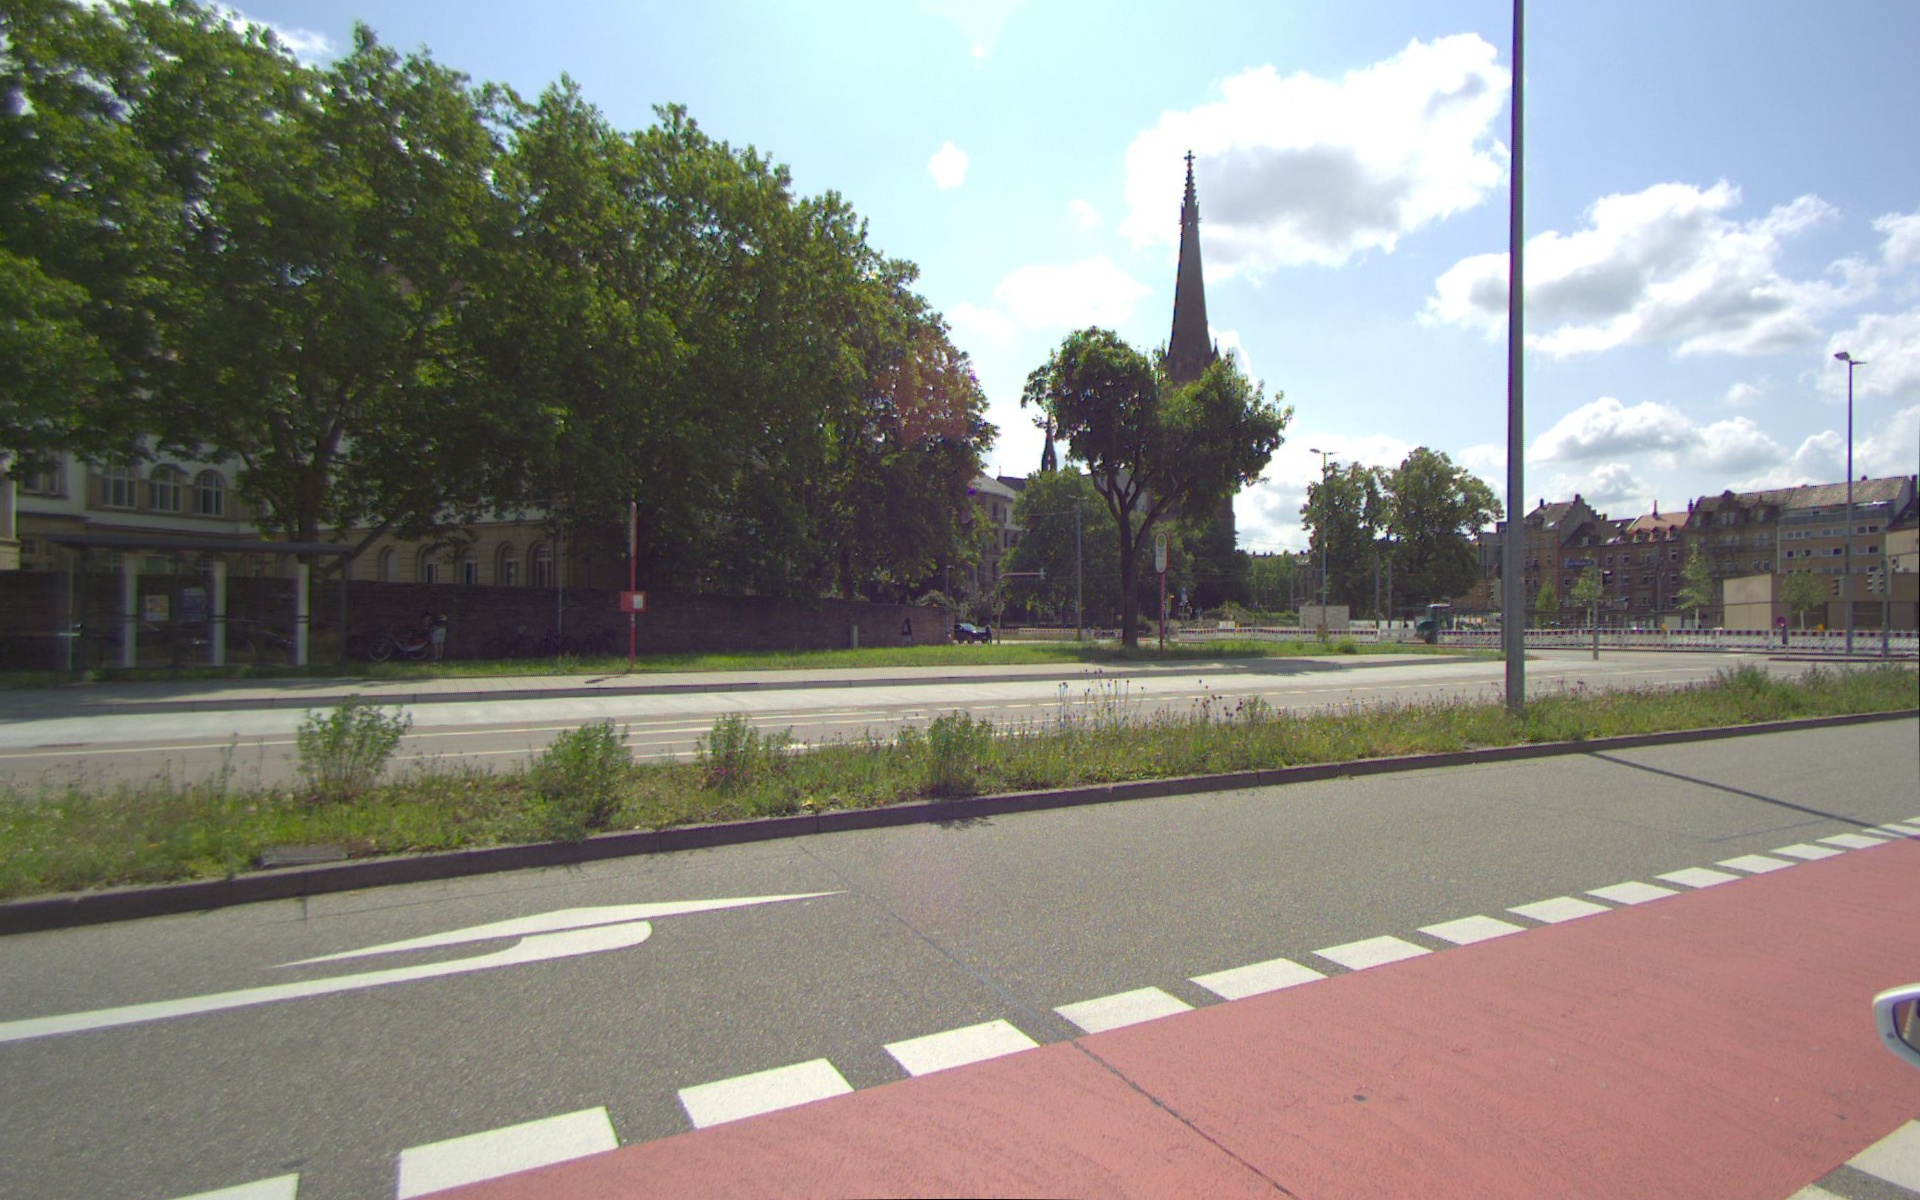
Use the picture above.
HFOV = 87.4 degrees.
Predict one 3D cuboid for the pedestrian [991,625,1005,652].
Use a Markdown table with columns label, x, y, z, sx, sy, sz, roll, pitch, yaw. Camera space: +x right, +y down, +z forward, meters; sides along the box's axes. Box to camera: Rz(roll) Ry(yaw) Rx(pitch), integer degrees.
| label | x | y | z | sx | sy | sz | roll | pitch | yaw |
| --- | --- | --- | --- | --- | --- | --- | --- | --- | --- |
| pedestrian | 2.837 | 2.867 | 74.734 | 0.713 | 2.040 | 0.721 | 1 | -1 | -32 |

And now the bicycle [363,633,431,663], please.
| label | x | y | z | sx | sy | sz | roll | pitch | yaw |
| --- | --- | --- | --- | --- | --- | --- | --- | --- | --- |
| bicycle | -16.232 | 1.376 | 29.017 | 0.324 | 0.828 | 1.743 | 0 | -1 | 36 |

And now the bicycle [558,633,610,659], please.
| label | x | y | z | sx | sy | sz | roll | pitch | yaw |
| --- | --- | --- | --- | --- | --- | --- | --- | --- | --- |
| bicycle | -12.772 | 1.548 | 34.159 | 0.324 | 0.828 | 1.743 | 0 | -1 | 36 |

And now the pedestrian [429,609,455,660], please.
| label | x | y | z | sx | sy | sz | roll | pitch | yaw |
| --- | --- | --- | --- | --- | --- | --- | --- | --- | --- |
| pedestrian | -15.160 | 1.002 | 29.381 | 0.627 | 1.492 | 0.506 | 1 | -1 | -32 |

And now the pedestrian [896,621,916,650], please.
| label | x | y | z | sx | sy | sz | roll | pitch | yaw |
| --- | --- | --- | --- | --- | --- | --- | --- | --- | --- |
| pedestrian | -2.688 | 1.739 | 49.616 | 0.720 | 1.413 | 0.714 | 1 | -1 | -35 |

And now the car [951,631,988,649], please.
| label | x | y | z | sx | sy | sz | roll | pitch | yaw |
| --- | --- | --- | --- | --- | --- | --- | --- | --- | --- |
| car | 0.762 | 3.357 | 84.189 | 1.487 | 1.416 | 3.444 | 1 | -1 | -31 |

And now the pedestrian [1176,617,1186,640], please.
| label | x | y | z | sx | sy | sz | roll | pitch | yaw |
| --- | --- | --- | --- | --- | --- | --- | --- | --- | --- |
| pedestrian | 19.698 | 2.568 | 89.461 | 0.642 | 2.040 | 0.626 | 1 | -1 | -35 |

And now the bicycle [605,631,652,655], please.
| label | x | y | z | sx | sy | sz | roll | pitch | yaw |
| --- | --- | --- | --- | --- | --- | --- | --- | --- | --- |
| bicycle | -11.768 | 1.527 | 35.685 | 0.324 | 0.828 | 1.743 | 0 | -1 | 36 |

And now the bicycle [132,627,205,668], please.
| label | x | y | z | sx | sy | sz | roll | pitch | yaw |
| --- | --- | --- | --- | --- | --- | --- | --- | --- | --- |
| bicycle | -19.409 | 1.154 | 24.649 | 0.260 | 0.977 | 1.391 | 0 | -1 | 36 |

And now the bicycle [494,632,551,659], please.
| label | x | y | z | sx | sy | sz | roll | pitch | yaw |
| --- | --- | --- | --- | --- | --- | --- | --- | --- | --- |
| bicycle | -14.012 | 1.459 | 32.203 | 0.378 | 0.828 | 1.743 | 0 | -1 | 36 |

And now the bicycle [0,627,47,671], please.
| label | x | y | z | sx | sy | sz | roll | pitch | yaw |
| --- | --- | --- | --- | --- | --- | --- | --- | --- | --- |
| bicycle | -21.249 | 1.087 | 22.329 | 0.260 | 0.977 | 1.391 | 0 | -1 | 36 |

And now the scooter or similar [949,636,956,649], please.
| label | x | y | z | sx | sy | sz | roll | pitch | yaw |
| --- | --- | --- | --- | --- | --- | --- | --- | --- | --- |
| scooter or similar | -0.430 | 2.473 | 58.987 | 0.117 | 0.721 | 1.005 | 0 | -1 | 17 |

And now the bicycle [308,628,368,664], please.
| label | x | y | z | sx | sy | sz | roll | pitch | yaw |
| --- | --- | --- | --- | --- | --- | --- | --- | --- | --- |
| bicycle | -17.152 | 1.262 | 27.720 | 0.260 | 0.977 | 1.391 | 0 | -1 | 36 |
